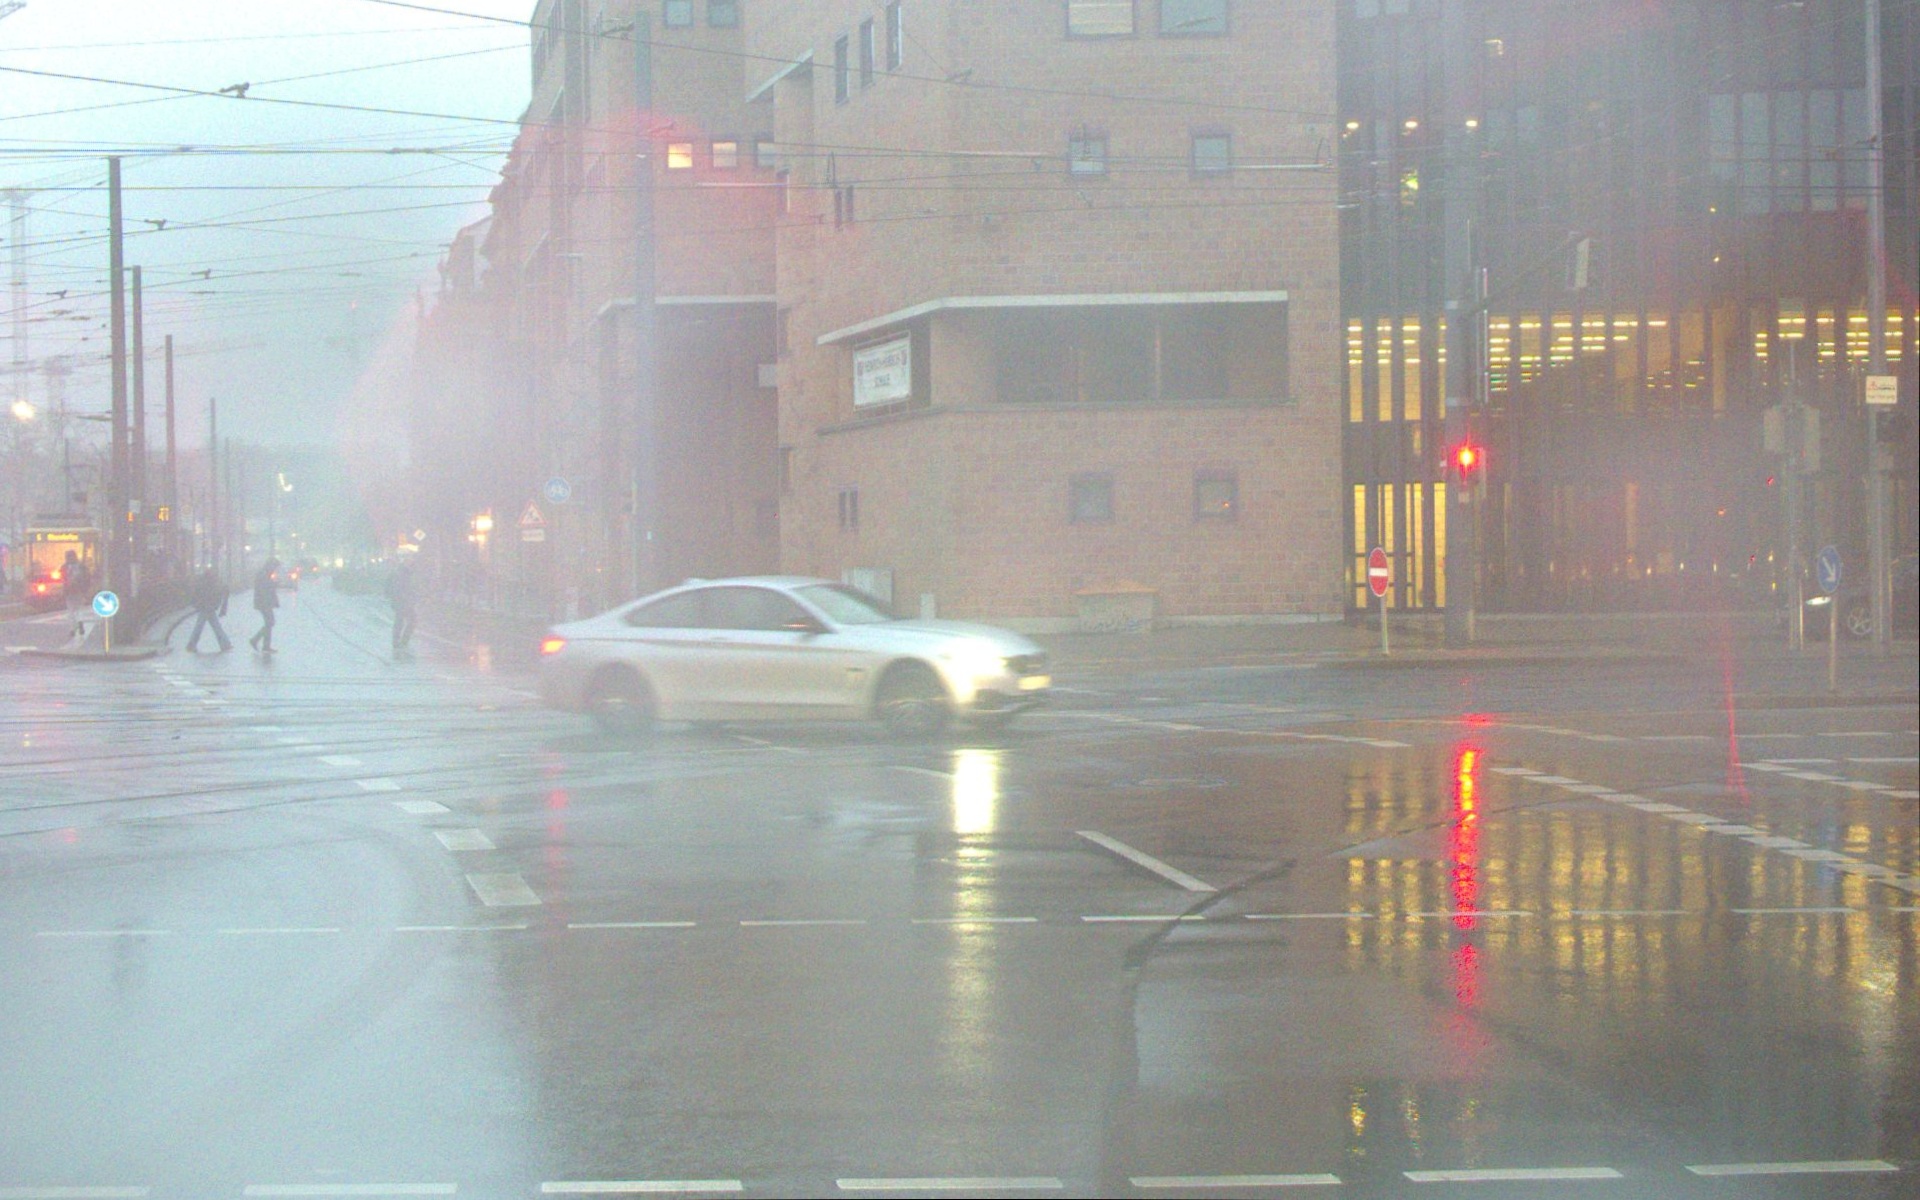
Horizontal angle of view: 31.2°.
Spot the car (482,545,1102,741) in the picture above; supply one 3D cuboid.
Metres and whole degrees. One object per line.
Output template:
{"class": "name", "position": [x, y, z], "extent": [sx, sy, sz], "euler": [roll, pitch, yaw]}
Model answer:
{"class": "car", "position": [-1.484, 0.359, 30.493], "extent": [4.993, 1.602, 2.251], "euler": [0, 1, 24]}

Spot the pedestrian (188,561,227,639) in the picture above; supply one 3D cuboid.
{"class": "pedestrian", "position": [-14.474, -0.011, 66.130], "extent": [0.700, 1.479, 0.576], "euler": [-1, 1, -10]}

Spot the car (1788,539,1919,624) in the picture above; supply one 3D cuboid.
{"class": "car", "position": [15.694, -0.333, 55.726], "extent": [3.986, 1.305, 2.000], "euler": [-1, 1, -4]}

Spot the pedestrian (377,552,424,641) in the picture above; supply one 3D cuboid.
{"class": "pedestrian", "position": [-10.737, -0.077, 65.970], "extent": [0.843, 1.681, 0.649], "euler": [-1, 1, -10]}

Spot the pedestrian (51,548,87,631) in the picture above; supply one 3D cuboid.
{"class": "pedestrian", "position": [-18.730, -0.222, 72.303], "extent": [0.693, 1.718, 0.766], "euler": [-1, 1, -15]}

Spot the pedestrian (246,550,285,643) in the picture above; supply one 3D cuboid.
{"class": "pedestrian", "position": [-12.983, -0.060, 64.254], "extent": [0.666, 1.719, 0.488], "euler": [-1, 1, -10]}
